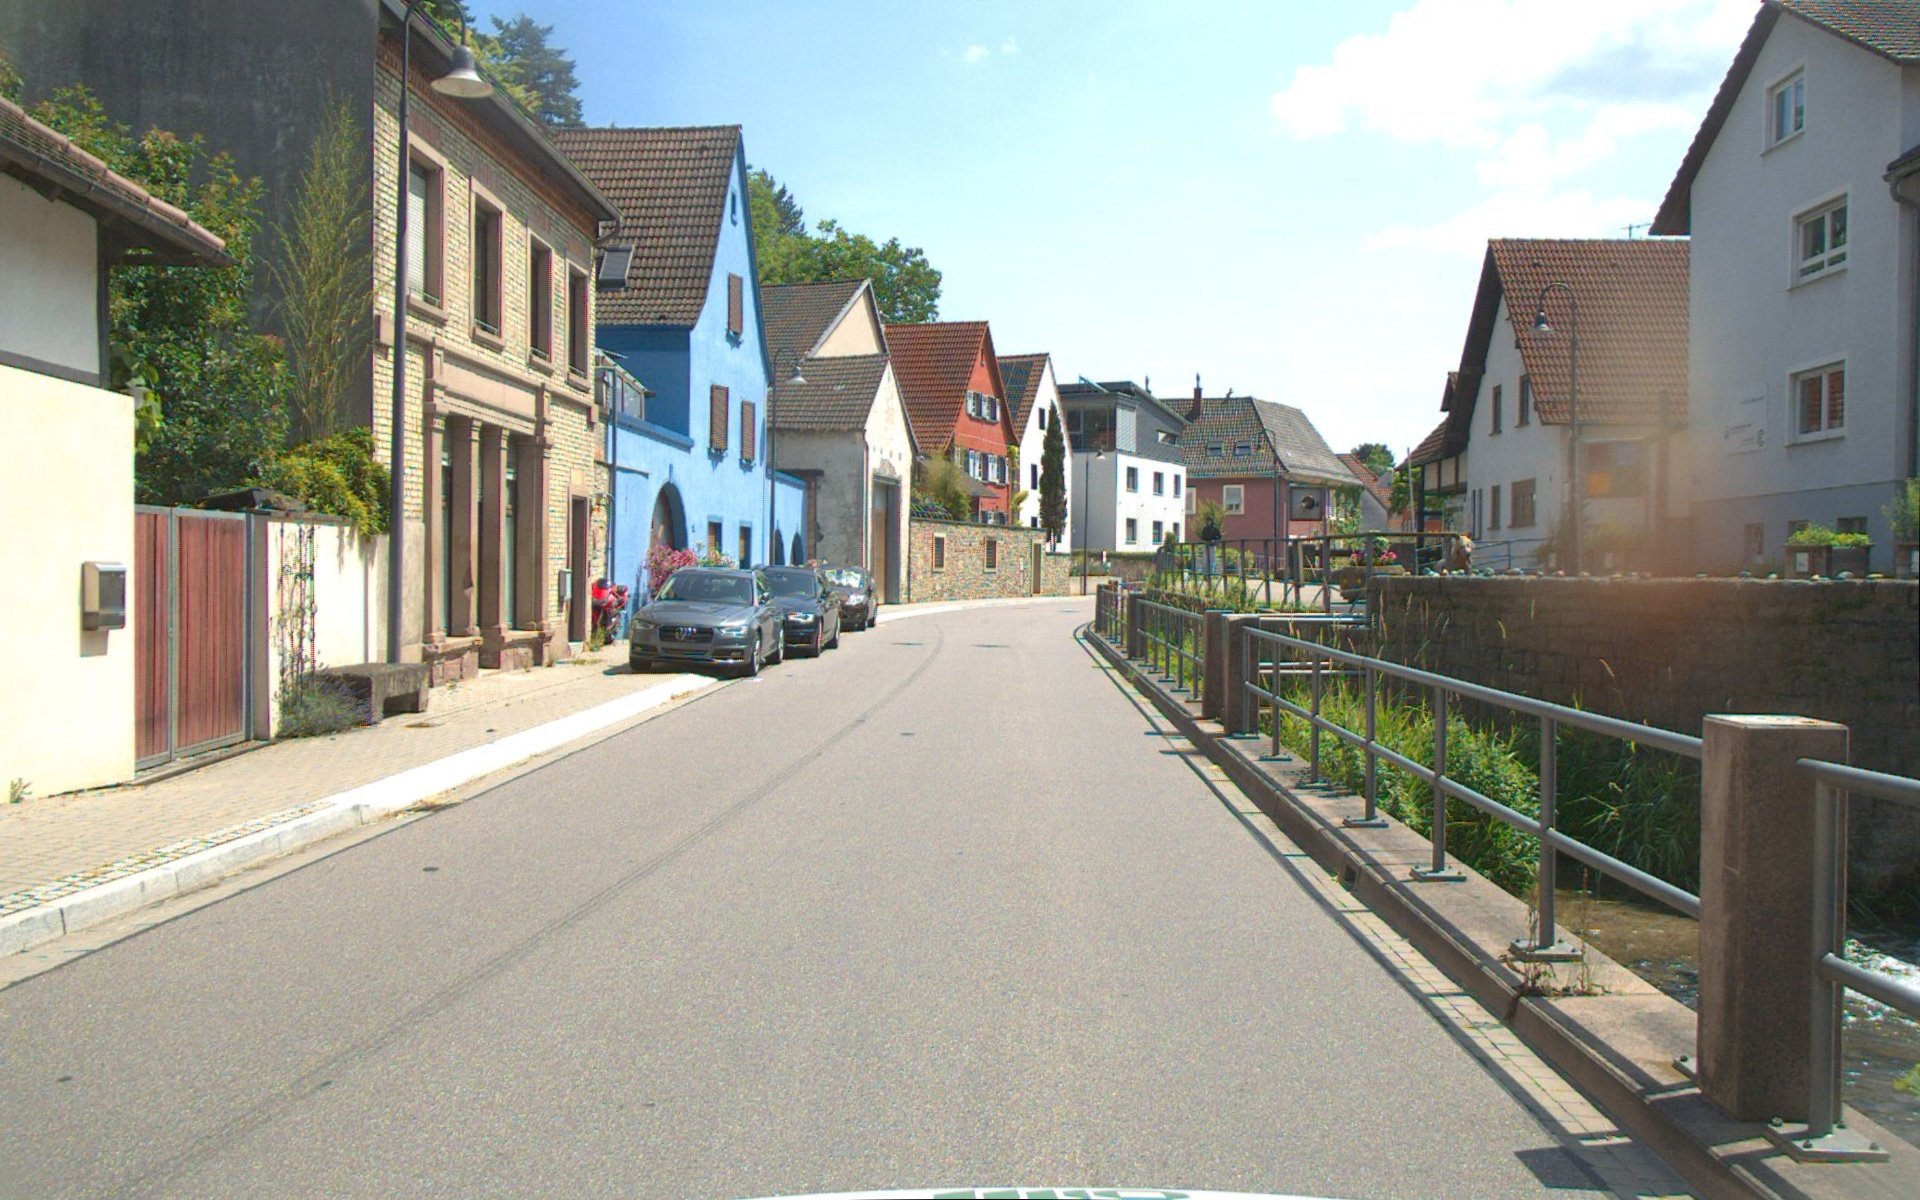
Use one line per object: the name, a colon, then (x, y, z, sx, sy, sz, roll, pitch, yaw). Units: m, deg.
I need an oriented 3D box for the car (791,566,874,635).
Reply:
car: (-3.010, -0.028, 39.730, 1.682, 1.556, 3.856, 0, 1, 0)

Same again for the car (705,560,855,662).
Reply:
car: (-3.087, 0.121, 29.293, 1.846, 1.489, 4.671, 4, 2, 3)

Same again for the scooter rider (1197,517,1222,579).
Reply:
scooter rider: (7.224, -1.496, 47.877, 0.628, 1.762, 0.554, 1, 1, 2)

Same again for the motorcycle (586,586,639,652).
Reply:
motorcycle: (-5.827, 0.302, 27.825, 0.409, 1.018, 1.858, 5, 1, 0)

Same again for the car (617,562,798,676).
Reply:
car: (-3.618, 0.236, 24.486, 1.916, 1.491, 4.546, 1, 0, 1)

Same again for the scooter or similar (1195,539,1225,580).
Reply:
scooter or similar: (7.209, -1.163, 47.734, 0.628, 1.162, 1.812, -1, 1, 2)
